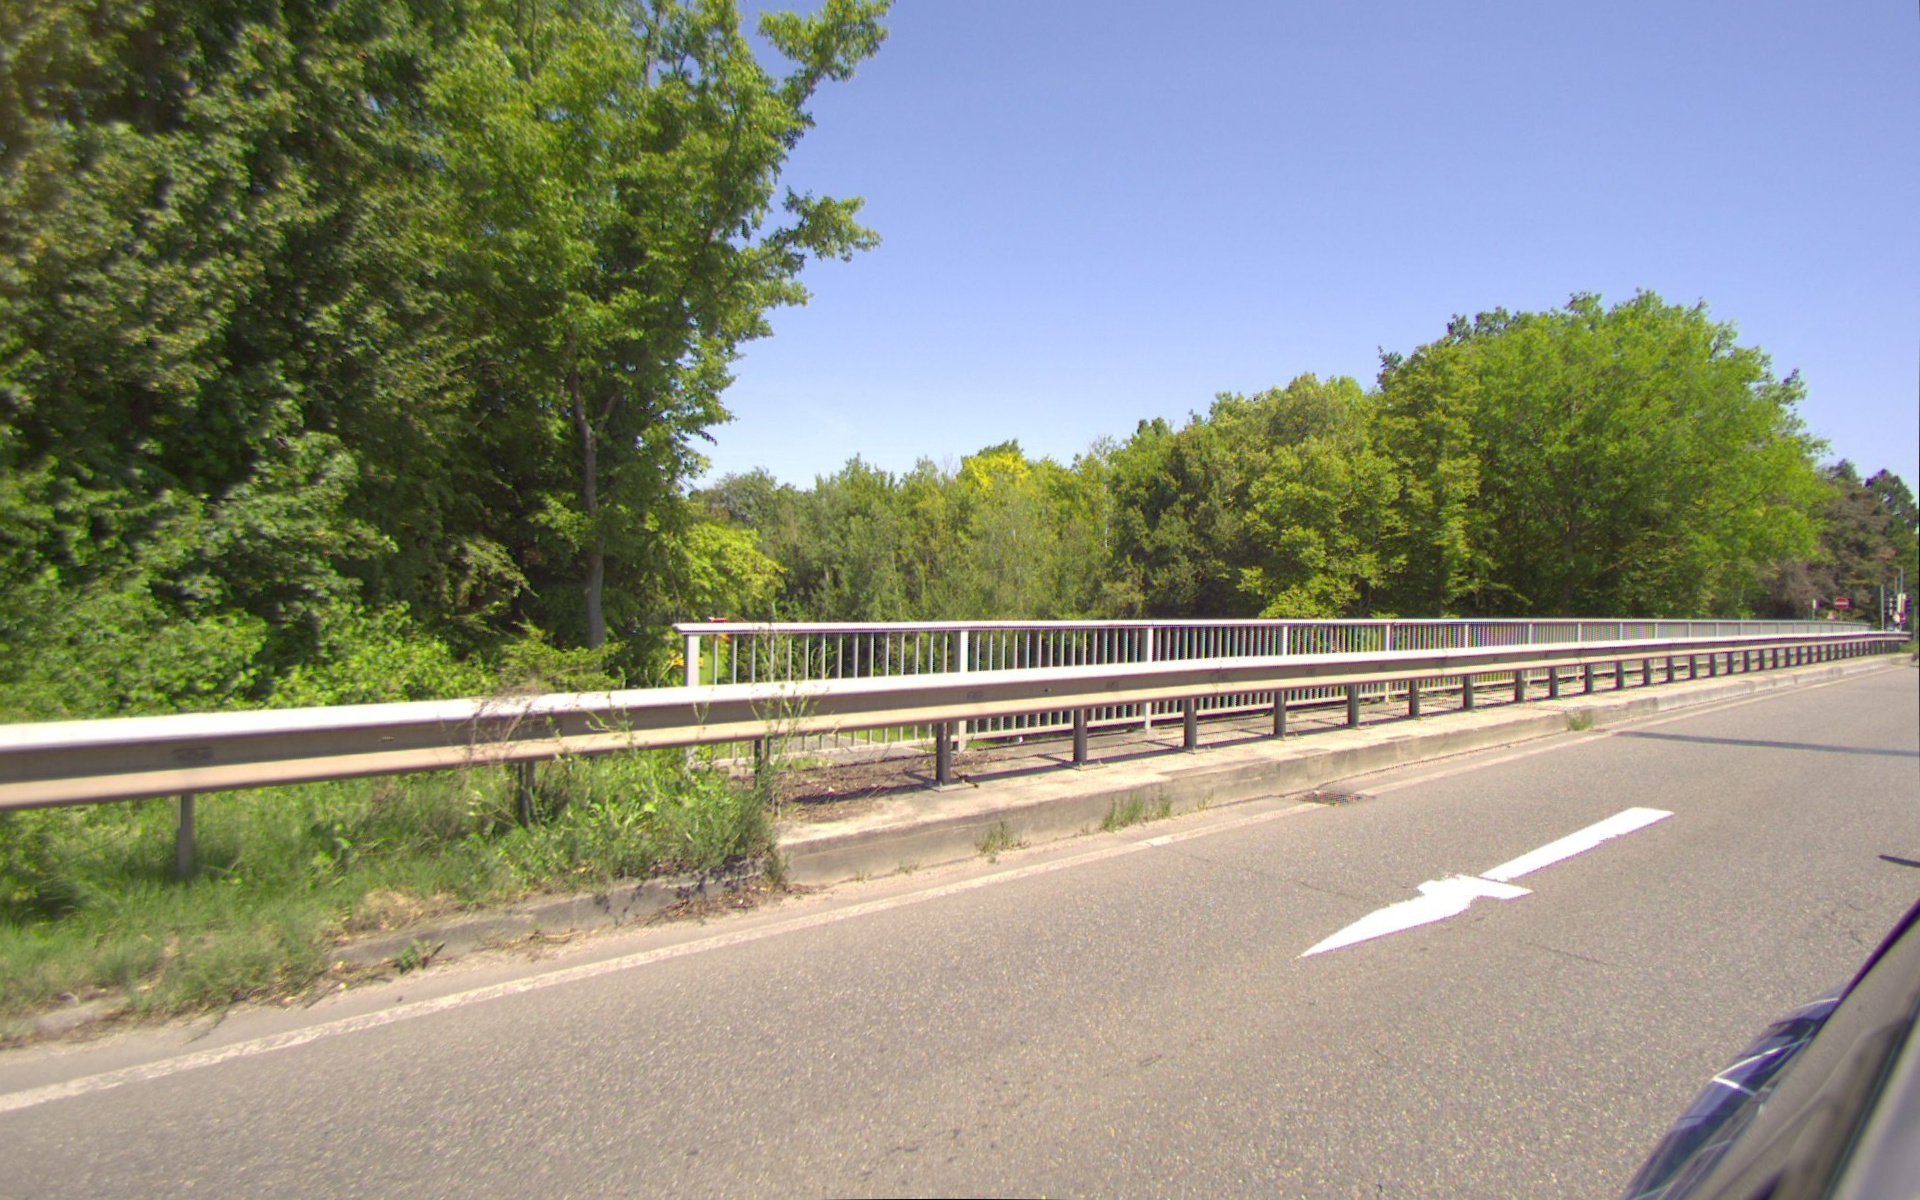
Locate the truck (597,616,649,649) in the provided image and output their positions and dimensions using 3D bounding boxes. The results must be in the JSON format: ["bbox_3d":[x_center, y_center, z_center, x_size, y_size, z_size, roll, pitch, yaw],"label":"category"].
[{"bbox_3d":[-34.675,3.309,104.203,2.089,3.121,4.896,2,1,32],"label":"truck"}]

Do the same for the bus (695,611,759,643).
[{"bbox_3d":[-26.750,3.077,116.697,2.262,3.251,8.001,-1,1,30],"label":"bus"}]
